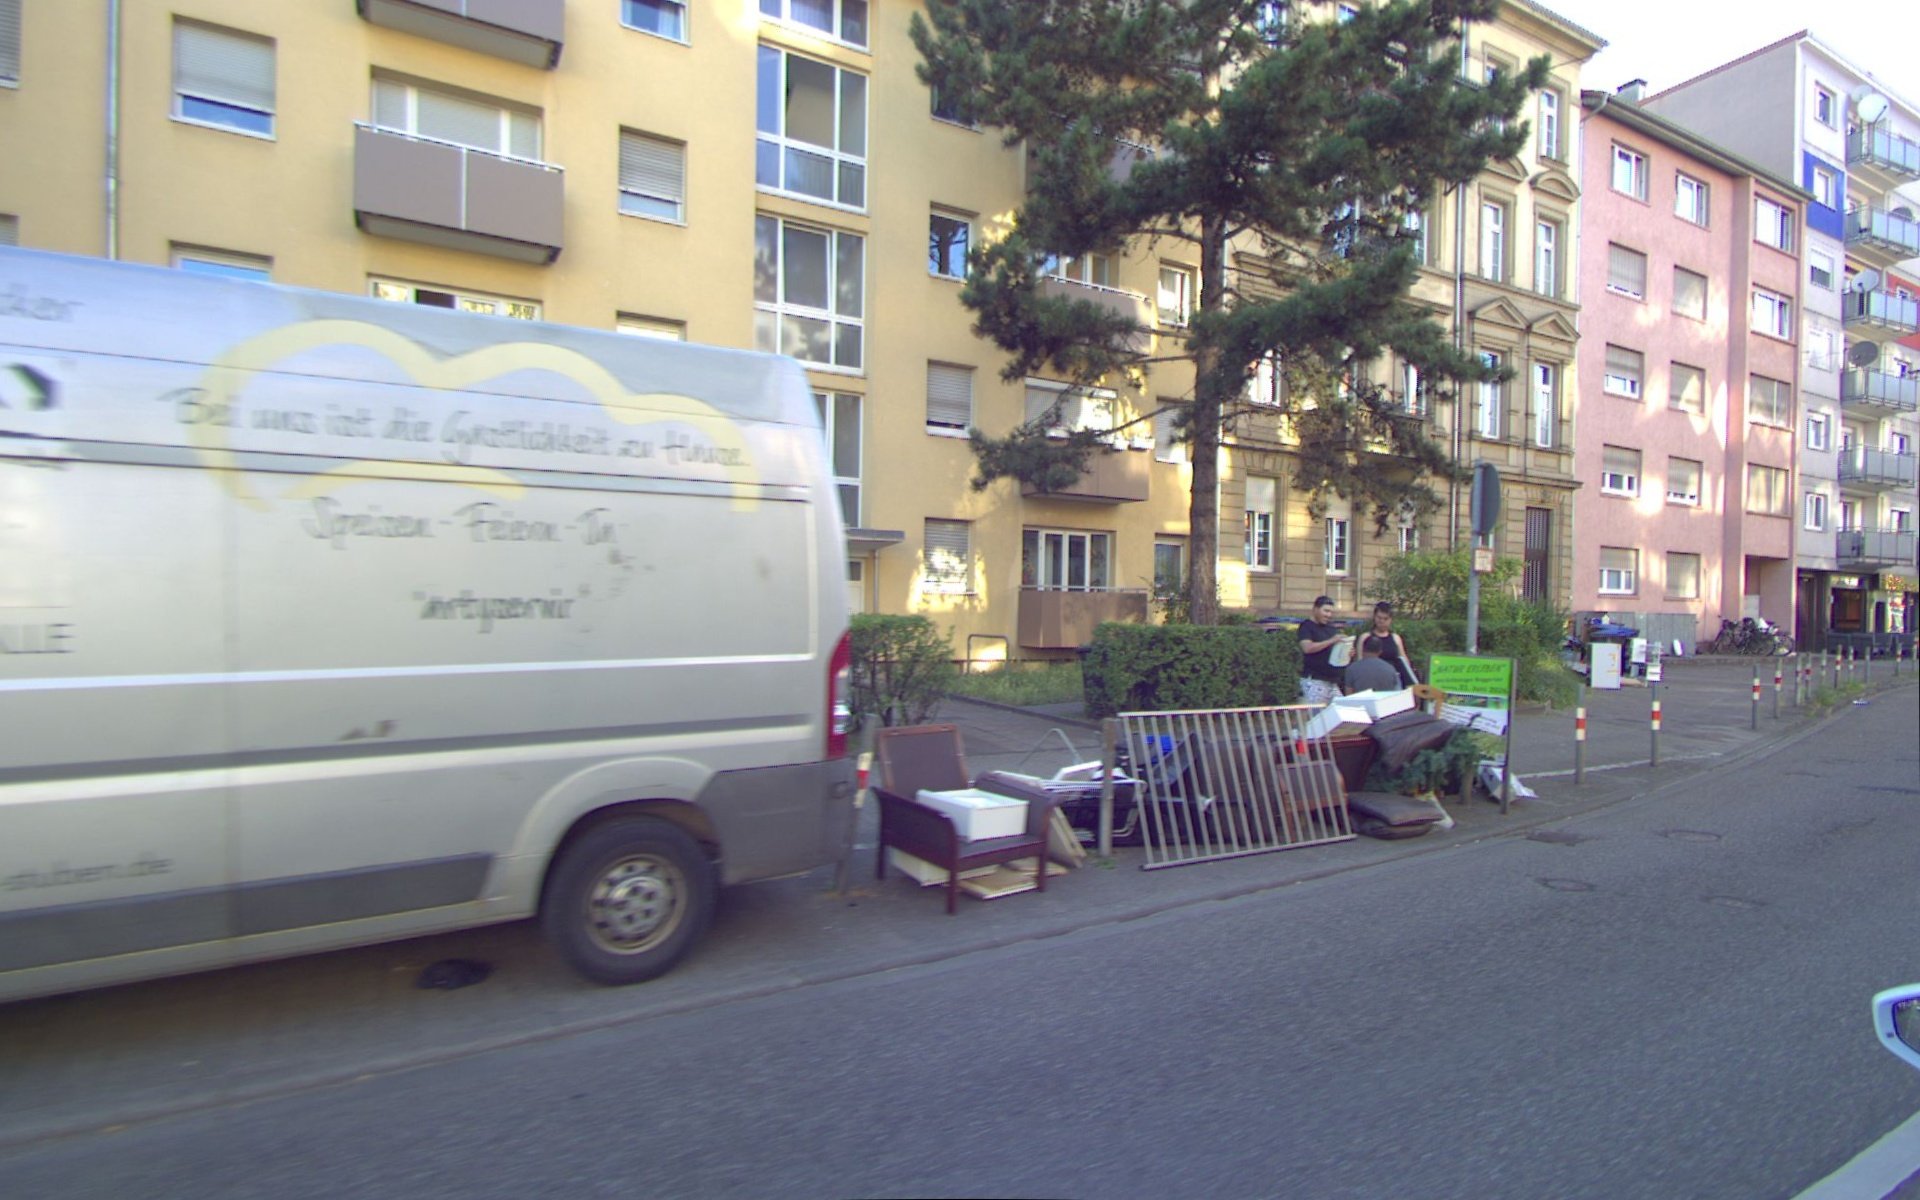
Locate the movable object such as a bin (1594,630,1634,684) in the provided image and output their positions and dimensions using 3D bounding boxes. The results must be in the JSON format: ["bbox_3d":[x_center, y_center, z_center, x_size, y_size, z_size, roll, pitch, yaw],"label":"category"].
[{"bbox_3d":[13.943,1.202,21.431,0.630,1.098,0.582,3,1,30],"label":"movable object such as a bin"}]

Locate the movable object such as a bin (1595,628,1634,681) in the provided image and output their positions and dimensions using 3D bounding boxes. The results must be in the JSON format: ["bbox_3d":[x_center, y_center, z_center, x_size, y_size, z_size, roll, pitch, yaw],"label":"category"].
[{"bbox_3d":[14.322,1.187,21.980,0.630,1.082,0.626,3,1,30],"label":"movable object such as a bin"}]

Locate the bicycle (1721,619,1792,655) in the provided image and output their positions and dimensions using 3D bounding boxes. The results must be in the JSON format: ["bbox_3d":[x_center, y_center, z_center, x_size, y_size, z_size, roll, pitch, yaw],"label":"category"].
[{"bbox_3d":[25.031,1.155,31.586,0.546,1.054,1.653,1,1,-43],"label":"bicycle"}]

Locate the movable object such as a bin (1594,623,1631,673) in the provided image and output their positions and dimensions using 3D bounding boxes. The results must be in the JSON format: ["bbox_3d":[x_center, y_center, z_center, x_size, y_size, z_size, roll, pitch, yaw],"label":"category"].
[{"bbox_3d":[15.390,1.130,23.704,0.630,1.126,0.582,3,1,30],"label":"movable object such as a bin"}]

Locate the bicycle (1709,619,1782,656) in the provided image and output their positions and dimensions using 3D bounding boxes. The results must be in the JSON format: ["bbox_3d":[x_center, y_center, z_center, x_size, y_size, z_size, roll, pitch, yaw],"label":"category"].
[{"bbox_3d":[24.340,1.156,31.142,0.544,1.054,1.658,1,1,-36],"label":"bicycle"}]

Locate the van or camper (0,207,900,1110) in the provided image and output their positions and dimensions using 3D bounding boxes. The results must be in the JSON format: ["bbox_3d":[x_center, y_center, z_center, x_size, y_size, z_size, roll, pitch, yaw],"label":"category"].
[{"bbox_3d":[-3.350,0.153,3.880,5.950,2.699,2.024,1,2,-33],"label":"van or camper"}]

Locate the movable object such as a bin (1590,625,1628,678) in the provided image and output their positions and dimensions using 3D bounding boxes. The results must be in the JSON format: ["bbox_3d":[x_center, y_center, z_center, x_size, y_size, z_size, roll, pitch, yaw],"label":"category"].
[{"bbox_3d":[14.620,1.147,22.647,0.630,1.126,0.582,3,1,30],"label":"movable object such as a bin"}]

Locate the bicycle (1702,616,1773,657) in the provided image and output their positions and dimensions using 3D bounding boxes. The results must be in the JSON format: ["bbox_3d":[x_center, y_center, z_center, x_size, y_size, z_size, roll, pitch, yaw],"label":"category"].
[{"bbox_3d":[23.699,1.099,30.657,1.647,1.176,0.495,2,1,35],"label":"bicycle"}]

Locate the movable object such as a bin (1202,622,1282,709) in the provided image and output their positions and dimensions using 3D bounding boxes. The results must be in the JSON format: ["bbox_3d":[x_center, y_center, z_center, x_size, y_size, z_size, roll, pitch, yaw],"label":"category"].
[{"bbox_3d":[3.733,0.851,13.321,0.575,1.065,0.807,1,3,-31],"label":"movable object such as a bin"}]

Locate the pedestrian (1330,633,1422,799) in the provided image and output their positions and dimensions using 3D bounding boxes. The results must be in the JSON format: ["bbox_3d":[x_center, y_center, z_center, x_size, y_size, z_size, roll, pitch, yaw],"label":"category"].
[{"bbox_3d":[3.733,1.011,9.017,0.476,1.396,0.555,1,2,-35],"label":"pedestrian"}]

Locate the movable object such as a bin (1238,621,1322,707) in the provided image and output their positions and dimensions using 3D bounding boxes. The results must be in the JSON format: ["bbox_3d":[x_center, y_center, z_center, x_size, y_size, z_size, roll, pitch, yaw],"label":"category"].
[{"bbox_3d":[4.302,0.840,13.532,0.575,1.065,0.863,1,3,-31],"label":"movable object such as a bin"}]

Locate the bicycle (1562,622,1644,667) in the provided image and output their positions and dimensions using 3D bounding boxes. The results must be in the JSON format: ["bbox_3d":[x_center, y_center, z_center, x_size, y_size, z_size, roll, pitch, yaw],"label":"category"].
[{"bbox_3d":[17.190,1.170,26.885,0.654,0.980,1.640,1,5,-30],"label":"bicycle"}]

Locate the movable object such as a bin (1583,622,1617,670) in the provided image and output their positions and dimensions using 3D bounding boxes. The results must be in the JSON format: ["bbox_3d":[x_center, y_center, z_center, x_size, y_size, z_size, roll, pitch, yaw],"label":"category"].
[{"bbox_3d":[15.855,1.130,24.893,0.630,1.126,0.582,3,1,30],"label":"movable object such as a bin"}]

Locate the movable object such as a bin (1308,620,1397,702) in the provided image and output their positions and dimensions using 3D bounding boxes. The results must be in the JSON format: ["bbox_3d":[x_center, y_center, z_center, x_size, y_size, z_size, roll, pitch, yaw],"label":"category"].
[{"bbox_3d":[5.616,0.853,14.408,0.760,1.065,0.863,1,3,-31],"label":"movable object such as a bin"}]

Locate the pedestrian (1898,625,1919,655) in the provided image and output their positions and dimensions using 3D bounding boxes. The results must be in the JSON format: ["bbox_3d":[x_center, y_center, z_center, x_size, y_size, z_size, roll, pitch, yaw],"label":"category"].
[{"bbox_3d":[39.434,1.638,41.734,0.513,1.219,0.552,1,0,29],"label":"pedestrian"}]

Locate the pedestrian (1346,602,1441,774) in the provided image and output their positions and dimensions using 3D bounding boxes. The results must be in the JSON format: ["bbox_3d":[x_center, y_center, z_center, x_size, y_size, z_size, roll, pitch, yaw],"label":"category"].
[{"bbox_3d":[4.419,0.863,10.246,0.690,1.674,0.600,1,0,-36],"label":"pedestrian"}]

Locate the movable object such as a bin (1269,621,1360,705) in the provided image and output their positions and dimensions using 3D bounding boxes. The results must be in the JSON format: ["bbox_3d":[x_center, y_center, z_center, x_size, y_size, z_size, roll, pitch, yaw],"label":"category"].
[{"bbox_3d":[4.903,0.853,13.920,0.760,1.065,0.863,1,3,-31],"label":"movable object such as a bin"}]

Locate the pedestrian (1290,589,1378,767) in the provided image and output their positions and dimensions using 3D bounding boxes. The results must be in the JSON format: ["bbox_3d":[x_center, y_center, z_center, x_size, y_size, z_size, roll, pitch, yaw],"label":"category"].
[{"bbox_3d":[3.681,0.741,9.882,0.718,1.674,0.476,1,0,-36],"label":"pedestrian"}]
